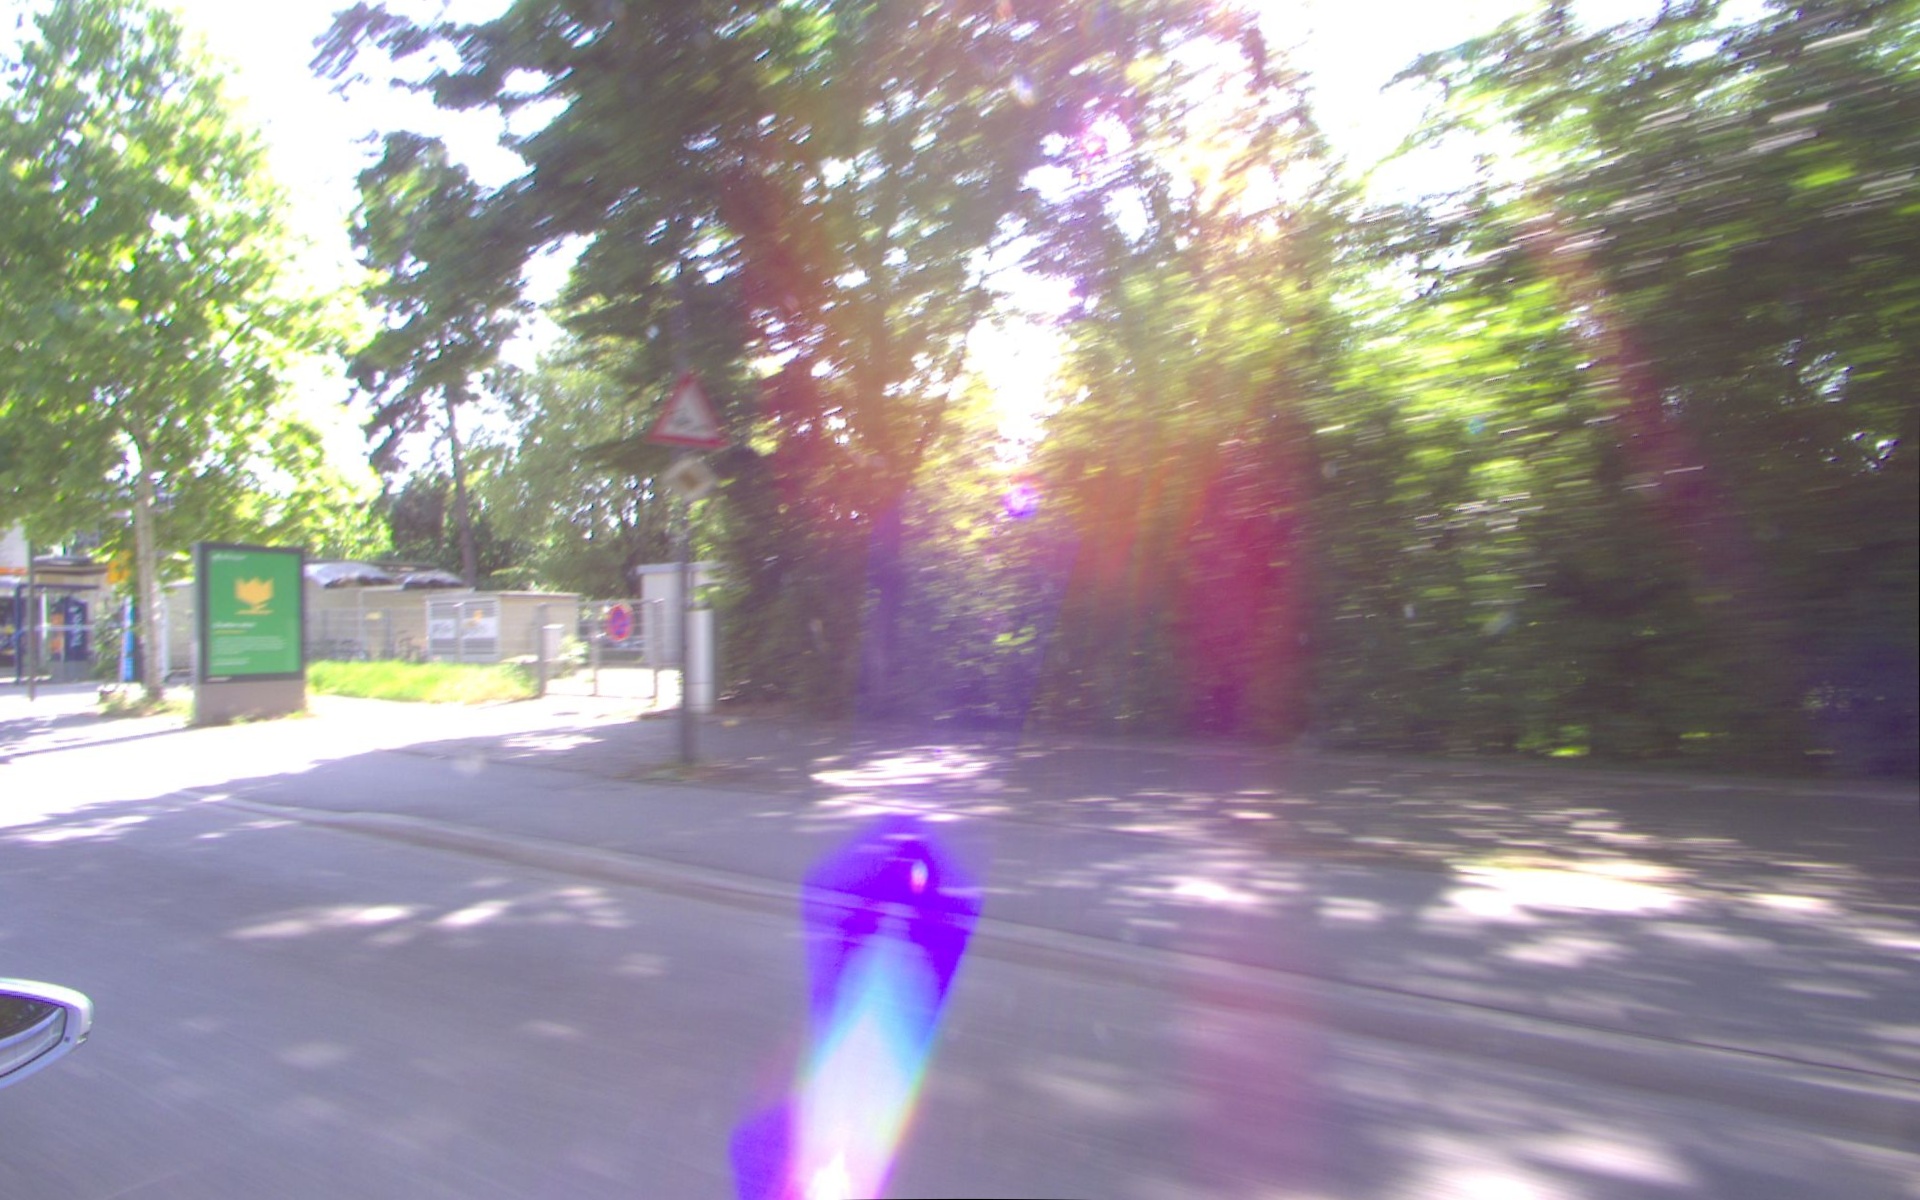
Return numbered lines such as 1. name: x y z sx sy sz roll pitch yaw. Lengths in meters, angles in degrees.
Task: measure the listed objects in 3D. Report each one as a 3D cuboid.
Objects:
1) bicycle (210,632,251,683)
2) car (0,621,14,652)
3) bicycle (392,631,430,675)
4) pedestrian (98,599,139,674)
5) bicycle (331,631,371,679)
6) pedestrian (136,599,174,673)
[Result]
1. bicycle: -17.526 1.361 24.048 1.156 1.195 0.388 -1 -1 32
2. car: -52.720 1.924 52.831 1.767 1.693 3.771 -1 -2 32
3. bicycle: -15.034 1.440 27.427 1.156 1.195 0.388 -1 -1 32
4. pedestrian: -21.774 0.937 25.923 0.683 1.921 0.612 0 0 29
5. bicycle: -15.667 1.400 25.753 1.156 1.195 0.388 -1 -1 32
6. pedestrian: -21.391 0.948 26.601 0.588 1.921 0.612 0 0 29
